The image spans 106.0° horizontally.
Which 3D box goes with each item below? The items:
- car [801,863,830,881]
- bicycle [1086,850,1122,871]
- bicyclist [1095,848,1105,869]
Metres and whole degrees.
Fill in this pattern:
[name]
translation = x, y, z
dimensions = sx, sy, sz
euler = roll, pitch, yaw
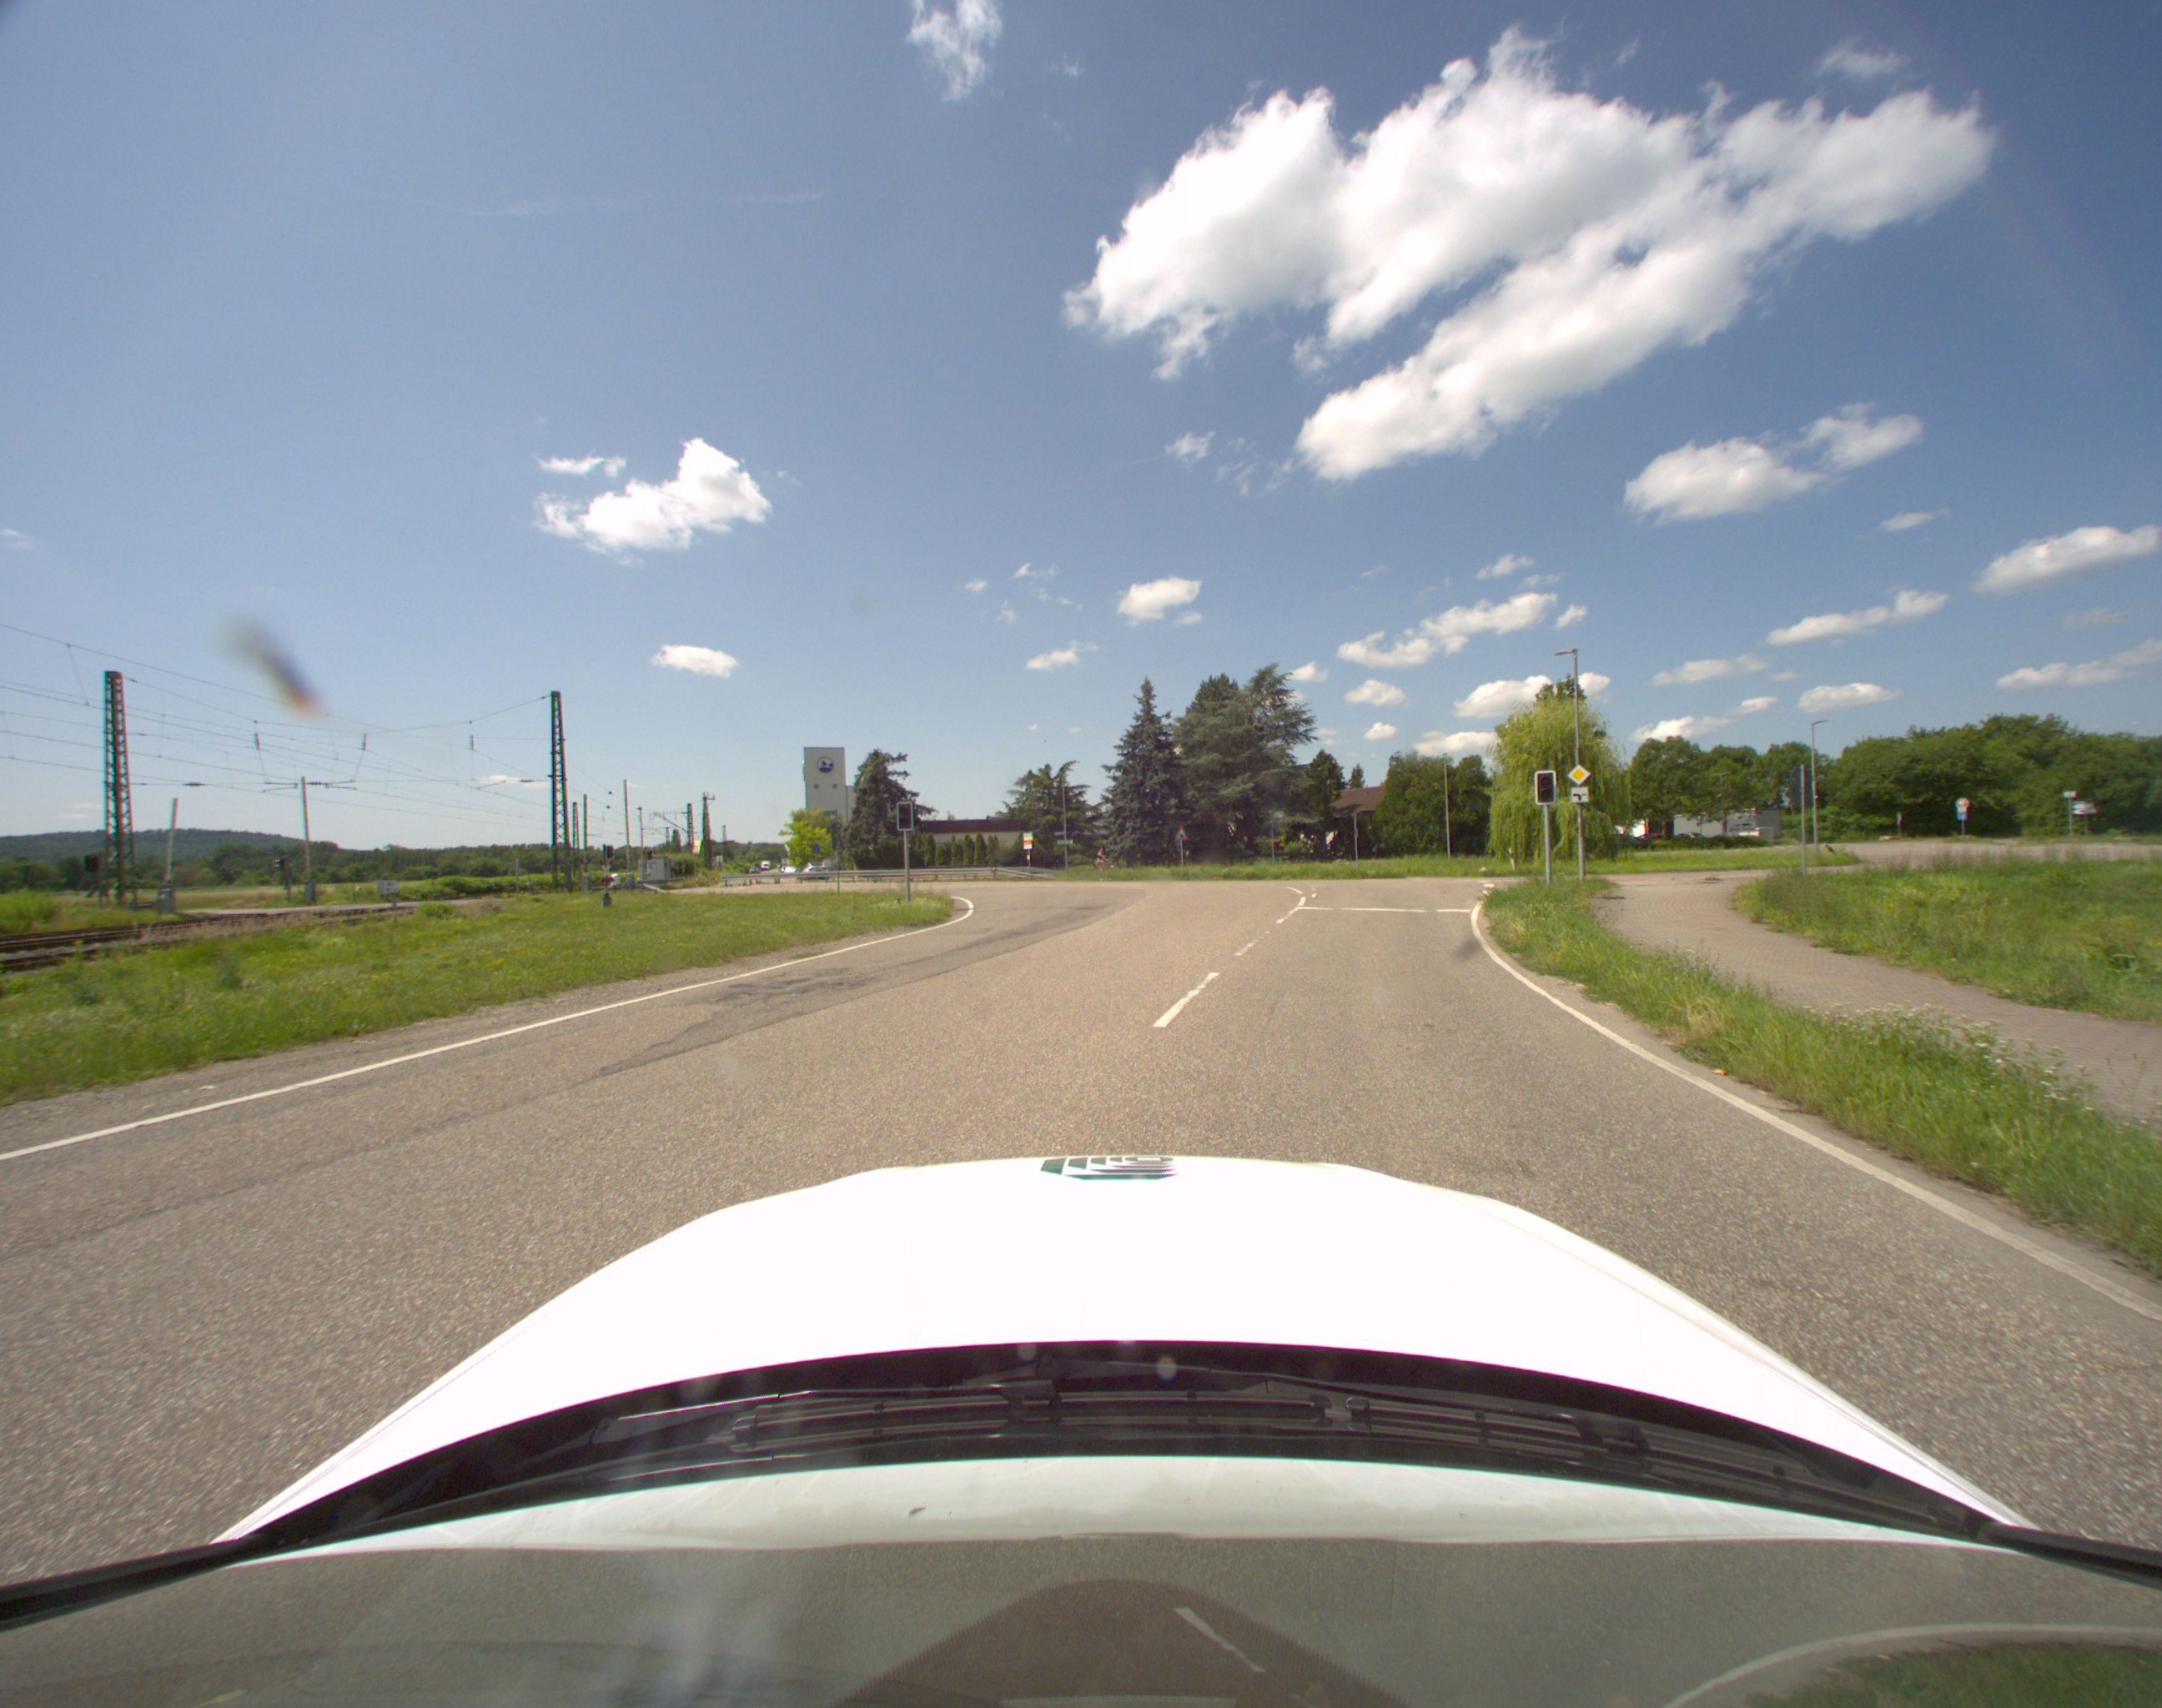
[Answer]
[car]
translation = -24.339, 1.589, 74.540
dimensions = 2.003, 1.510, 4.418
euler = -2, 0, -24
[bicycle]
translation = 1.393, 0.404, 49.143
dimensions = 2.133, 1.164, 0.661
euler = -2, 0, -1
[bicyclist]
translation = 1.140, 0.273, 49.123
dimensions = 0.508, 1.255, 0.469
euler = -2, 0, 0
